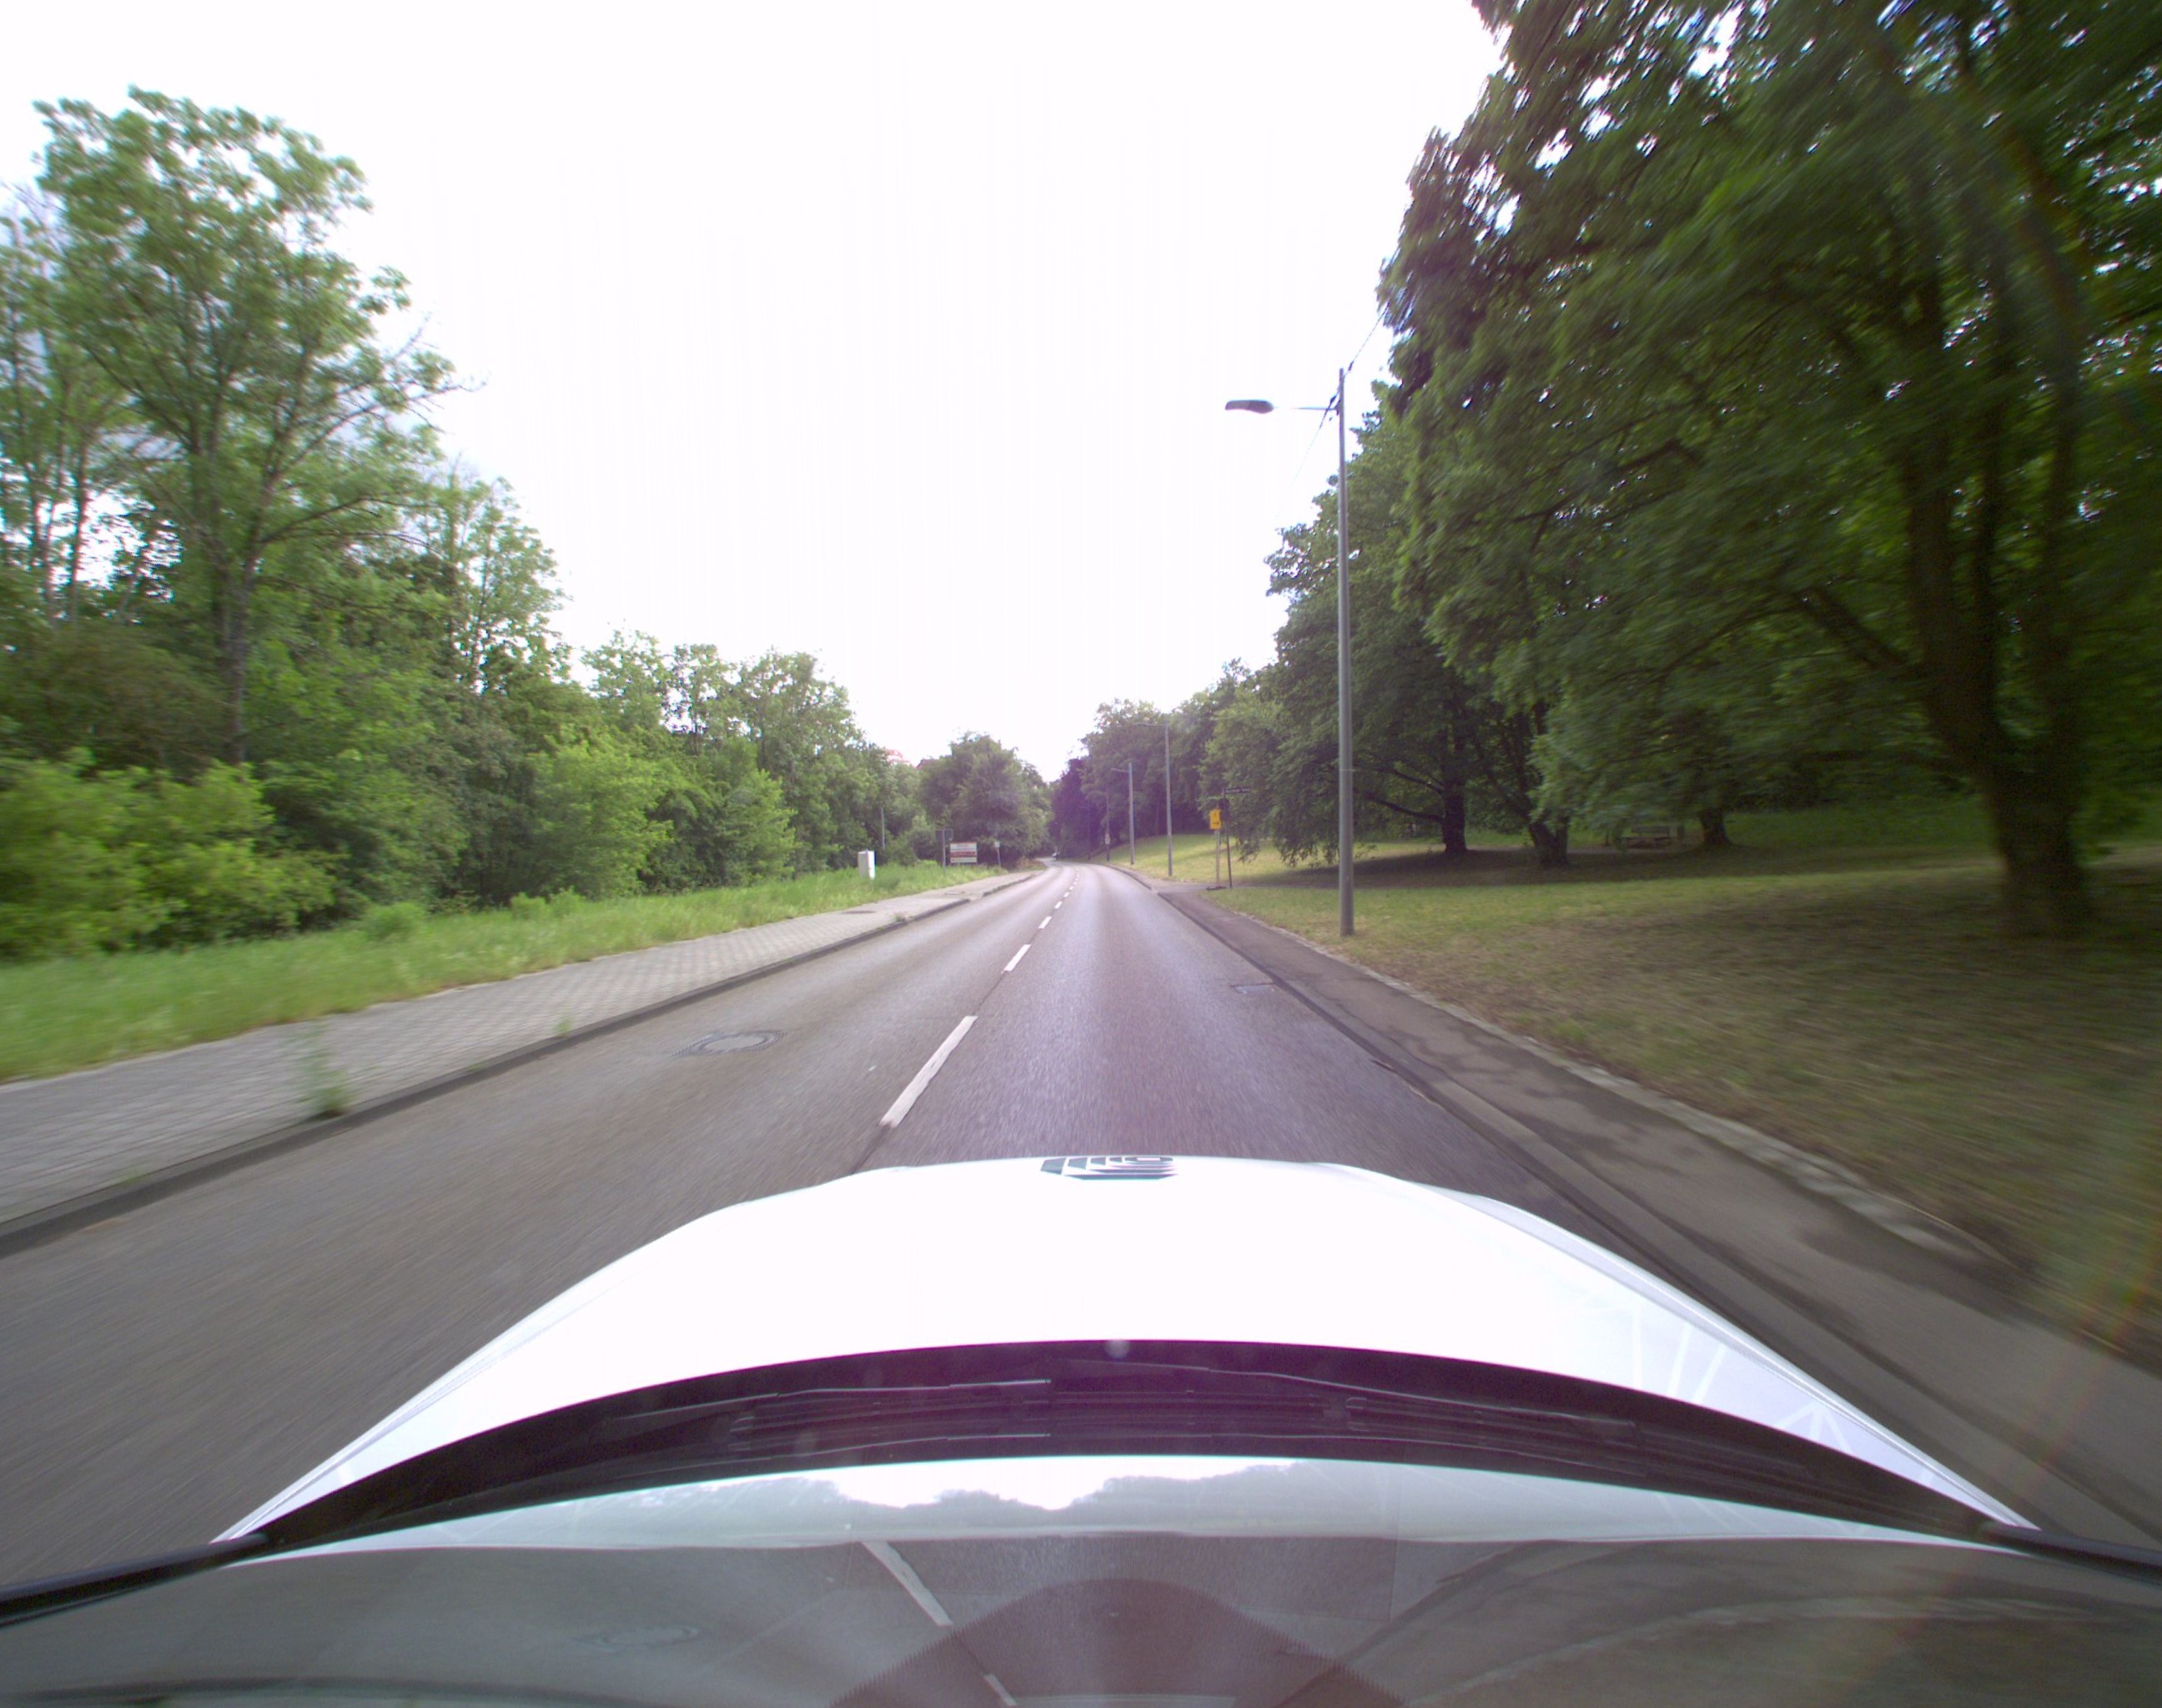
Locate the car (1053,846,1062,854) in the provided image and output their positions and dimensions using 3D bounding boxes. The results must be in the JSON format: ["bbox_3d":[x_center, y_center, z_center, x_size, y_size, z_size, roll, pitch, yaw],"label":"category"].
[{"bbox_3d":[-6.705,-1.087,231.145,1.984,2.014,4.004,-1,-1,4],"label":"car"}]
